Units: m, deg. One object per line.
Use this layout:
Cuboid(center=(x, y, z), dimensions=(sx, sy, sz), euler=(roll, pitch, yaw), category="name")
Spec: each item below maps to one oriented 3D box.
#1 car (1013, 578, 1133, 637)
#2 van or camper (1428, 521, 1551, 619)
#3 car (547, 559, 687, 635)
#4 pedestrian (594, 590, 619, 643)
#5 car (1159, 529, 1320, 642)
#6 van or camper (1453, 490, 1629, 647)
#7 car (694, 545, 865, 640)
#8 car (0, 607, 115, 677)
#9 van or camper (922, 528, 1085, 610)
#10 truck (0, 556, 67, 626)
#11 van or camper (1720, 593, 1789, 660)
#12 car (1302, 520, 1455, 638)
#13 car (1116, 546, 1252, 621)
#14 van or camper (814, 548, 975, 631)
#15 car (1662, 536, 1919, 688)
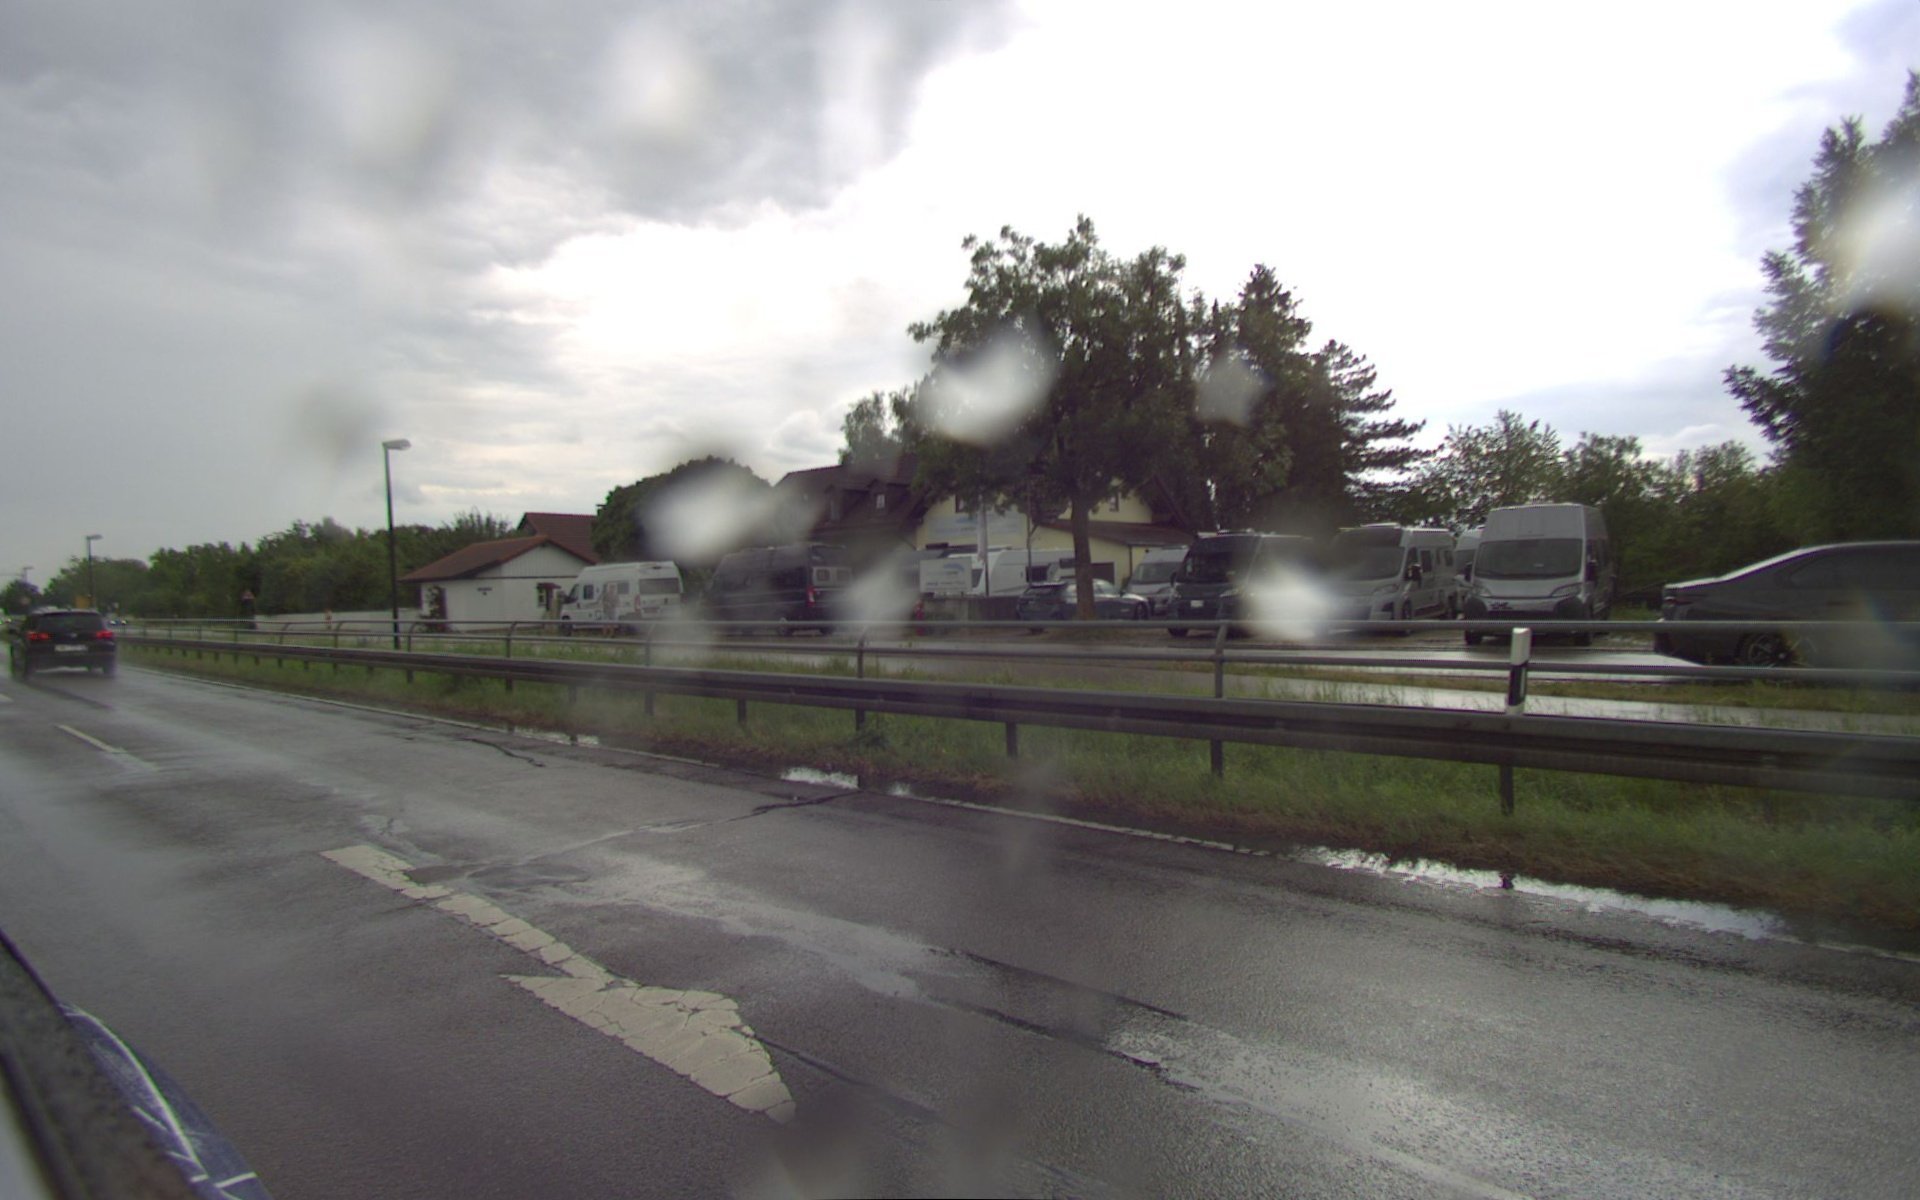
Cuboid(center=(3.330, 0.180, 29.335), dimensions=(1.539, 1.507, 3.844), euler=(-2, 1, 41), category="car")
Cuboid(center=(15.693, -0.887, 29.794), dimensions=(1.998, 2.609, 5.747), euler=(-2, 1, 40), category="van or camper")
Cuboid(center=(-12.943, -0.083, 37.985), dimensions=(6.017, 2.600, 2.214), euler=(-1, 1, 42), category="car")
Cuboid(center=(-11.687, 0.538, 33.477), dimensions=(0.509, 1.723, 0.651), euler=(-2, 1, -41), category="pedestrian")
Cuboid(center=(7.089, -0.394, 25.255), dimensions=(1.998, 2.520, 5.133), euler=(-2, 1, 38), category="car")
Cuboid(center=(11.822, -0.629, 20.362), dimensions=(2.079, 2.697, 5.817), euler=(-2, 1, 39), category="van or camper")
Cuboid(center=(-5.822, -0.207, 32.225), dimensions=(5.571, 2.783, 2.358), euler=(-1, 1, 42), category="car")
Cuboid(center=(-22.988, 1.021, 25.693), dimensions=(3.997, 1.631, 1.746), euler=(-2, -1, 41), category="car")
Cuboid(center=(1.682, -1.111, 36.037), dimensions=(2.560, 2.611, 6.161), euler=(-2, 1, 40), category="van or camper")
Cuboid(center=(-71.163, -0.664, 77.305), dimensions=(7.778, 5.071, 3.215), euler=(-1, 1, 41), category="truck")
Cuboid(center=(36.774, 1.148, 46.777), dimensions=(2.321, 2.697, 5.817), euler=(-2, 1, 40), category="van or camper")
Cuboid(center=(10.025, -0.512, 23.989), dimensions=(1.998, 2.477, 5.043), euler=(-2, 1, 38), category="car")
Cuboid(center=(8.118, -0.626, 36.139), dimensions=(2.090, 2.435, 6.030), euler=(-2, 1, 41), category="car")
Cuboid(center=(-2.303, -0.442, 37.571), dimensions=(2.432, 2.822, 5.993), euler=(-2, 1, 40), category="van or camper")
Cuboid(center=(10.341, 0.086, 10.367), dimensions=(5.113, 1.502, 1.502), euler=(-2, 1, 37), category="car")
